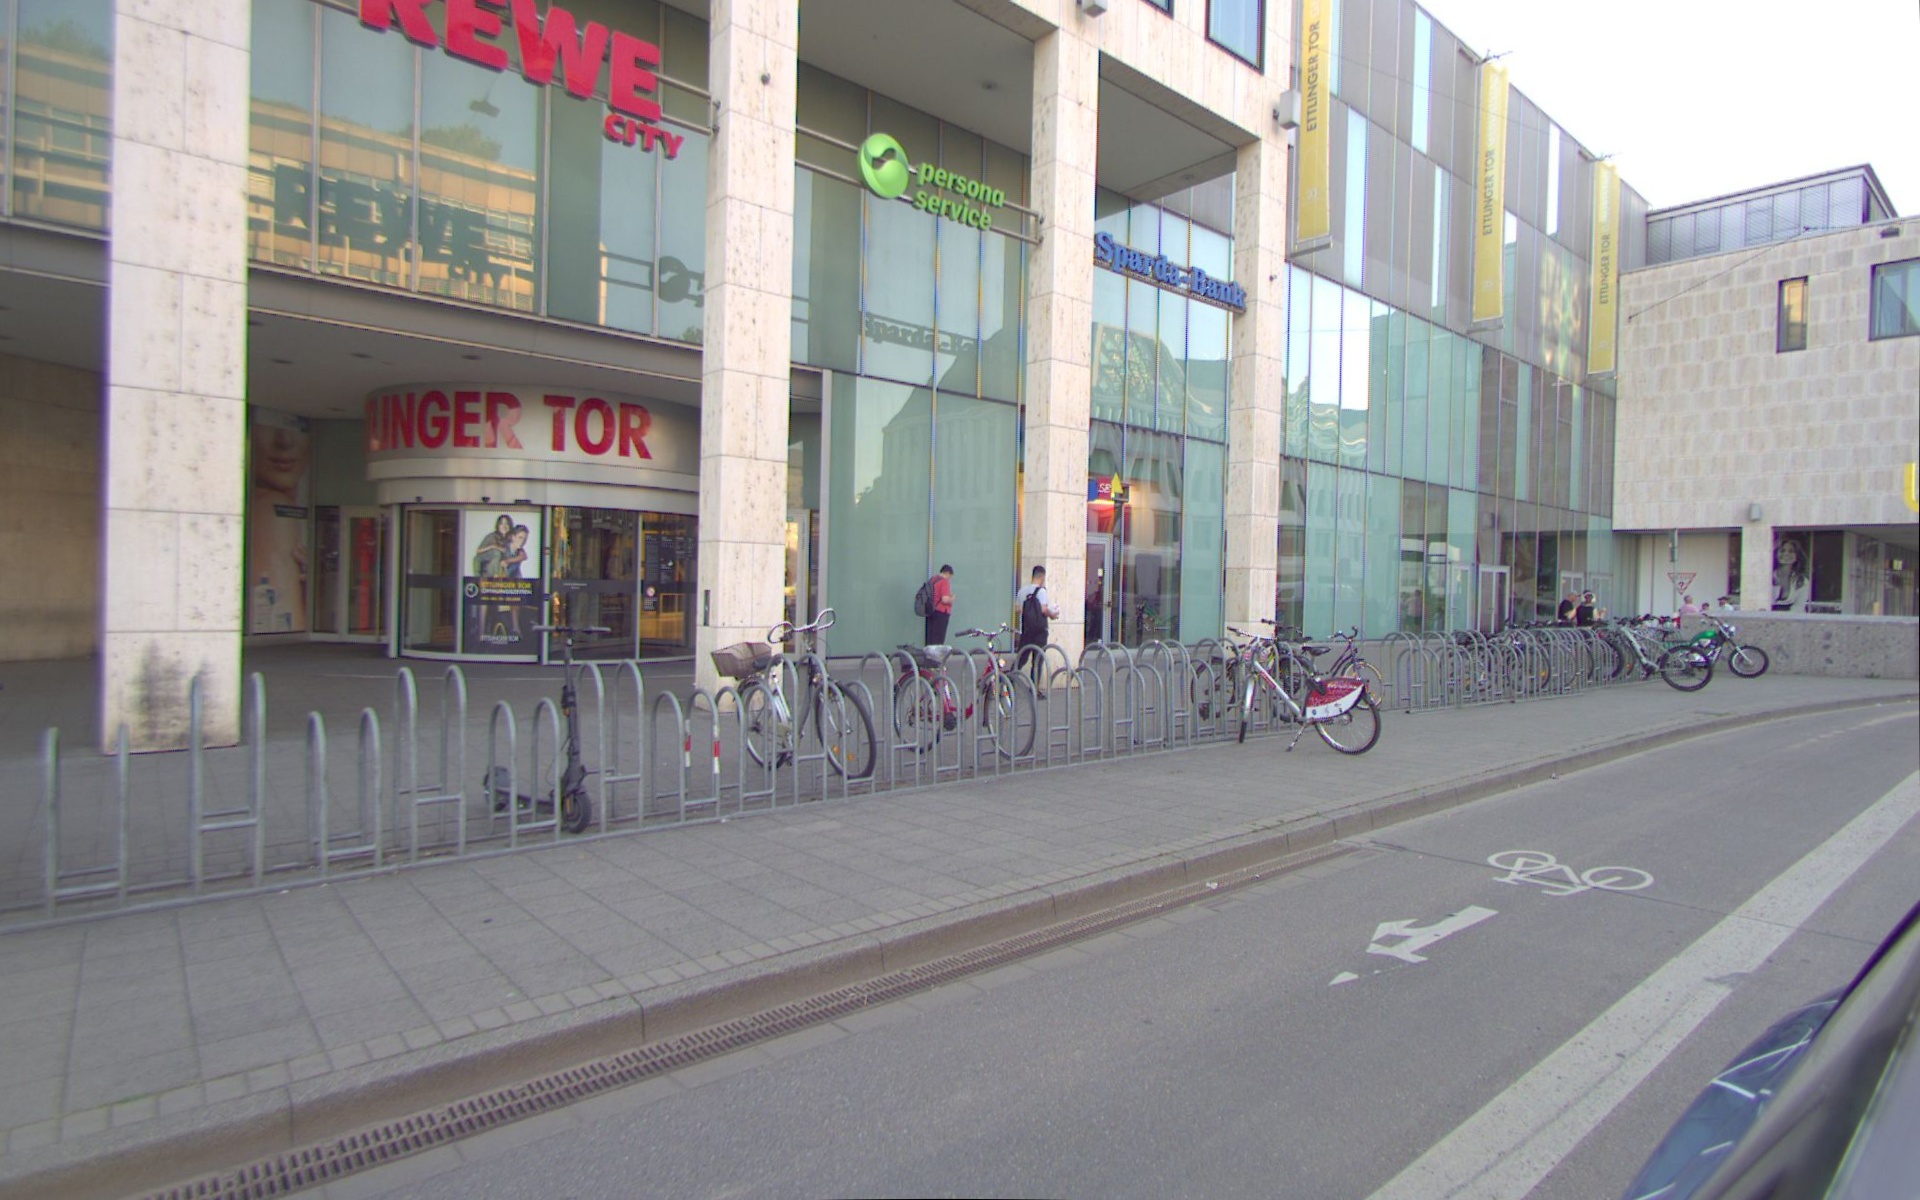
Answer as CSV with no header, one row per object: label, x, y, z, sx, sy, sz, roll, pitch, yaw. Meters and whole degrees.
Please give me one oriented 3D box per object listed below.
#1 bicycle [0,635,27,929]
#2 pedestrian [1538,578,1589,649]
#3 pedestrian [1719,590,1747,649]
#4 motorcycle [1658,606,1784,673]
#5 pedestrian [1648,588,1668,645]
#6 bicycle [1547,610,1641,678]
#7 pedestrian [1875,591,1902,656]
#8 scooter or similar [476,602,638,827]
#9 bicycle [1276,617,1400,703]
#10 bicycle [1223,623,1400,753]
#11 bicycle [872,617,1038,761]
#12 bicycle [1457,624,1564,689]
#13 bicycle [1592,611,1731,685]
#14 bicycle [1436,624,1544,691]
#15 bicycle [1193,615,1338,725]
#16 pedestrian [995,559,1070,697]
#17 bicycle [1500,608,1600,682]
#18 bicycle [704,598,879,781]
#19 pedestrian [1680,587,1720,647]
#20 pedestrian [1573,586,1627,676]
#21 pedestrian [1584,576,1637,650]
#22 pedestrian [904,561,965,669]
bicycle,-4.554,0.727,4.476,1.768,1.092,0.475,3,1,43
pedestrian,14.575,0.320,24.467,0.807,1.668,0.738,2,1,11
pedestrian,23.346,0.578,30.560,0.644,1.765,0.494,1,1,-38
motorcycle,15.580,0.788,20.764,0.472,1.239,2.004,1,1,-43
pedestrian,21.718,0.514,31.496,0.444,1.765,0.364,1,1,-38
bicycle,11.395,0.767,18.218,0.509,1.179,1.344,1,-2,-41
pedestrian,25.560,0.639,27.858,0.483,1.765,0.455,1,1,-38
scooter or similar,-2.518,0.646,6.274,0.484,1.214,1.194,1,1,-44
bicycle,5.000,0.767,13.431,1.439,1.078,0.572,-1,-2,39
bicycle,3.171,0.756,9.246,0.458,1.077,1.518,1,-2,-39
bicycle,-0.074,0.709,8.668,0.543,1.120,1.516,1,-2,-43
bicycle,8.456,0.851,15.584,0.509,0.944,1.344,1,-2,-41
bicycle,11.567,0.771,16.743,0.458,1.161,1.837,1,-2,-39
bicycle,7.946,0.839,15.205,0.509,0.944,1.344,1,-2,-41
bicycle,3.379,0.738,11.309,0.569,1.138,1.519,1,-2,-36
pedestrian,0.938,0.342,13.058,0.627,1.713,0.697,2,1,43
bicycle,9.832,0.734,16.894,0.509,1.179,1.344,1,-2,-41
bicycle,-1.306,0.621,7.665,0.607,1.243,1.517,1,-2,-41
pedestrian,22.607,0.511,30.914,0.644,1.765,0.794,1,1,-38
pedestrian,12.262,0.572,19.410,0.802,1.663,0.640,2,1,31
pedestrian,15.383,0.292,23.952,0.807,1.717,0.696,2,1,11
pedestrian,-0.408,0.225,16.200,0.695,1.672,0.629,1,1,-40
